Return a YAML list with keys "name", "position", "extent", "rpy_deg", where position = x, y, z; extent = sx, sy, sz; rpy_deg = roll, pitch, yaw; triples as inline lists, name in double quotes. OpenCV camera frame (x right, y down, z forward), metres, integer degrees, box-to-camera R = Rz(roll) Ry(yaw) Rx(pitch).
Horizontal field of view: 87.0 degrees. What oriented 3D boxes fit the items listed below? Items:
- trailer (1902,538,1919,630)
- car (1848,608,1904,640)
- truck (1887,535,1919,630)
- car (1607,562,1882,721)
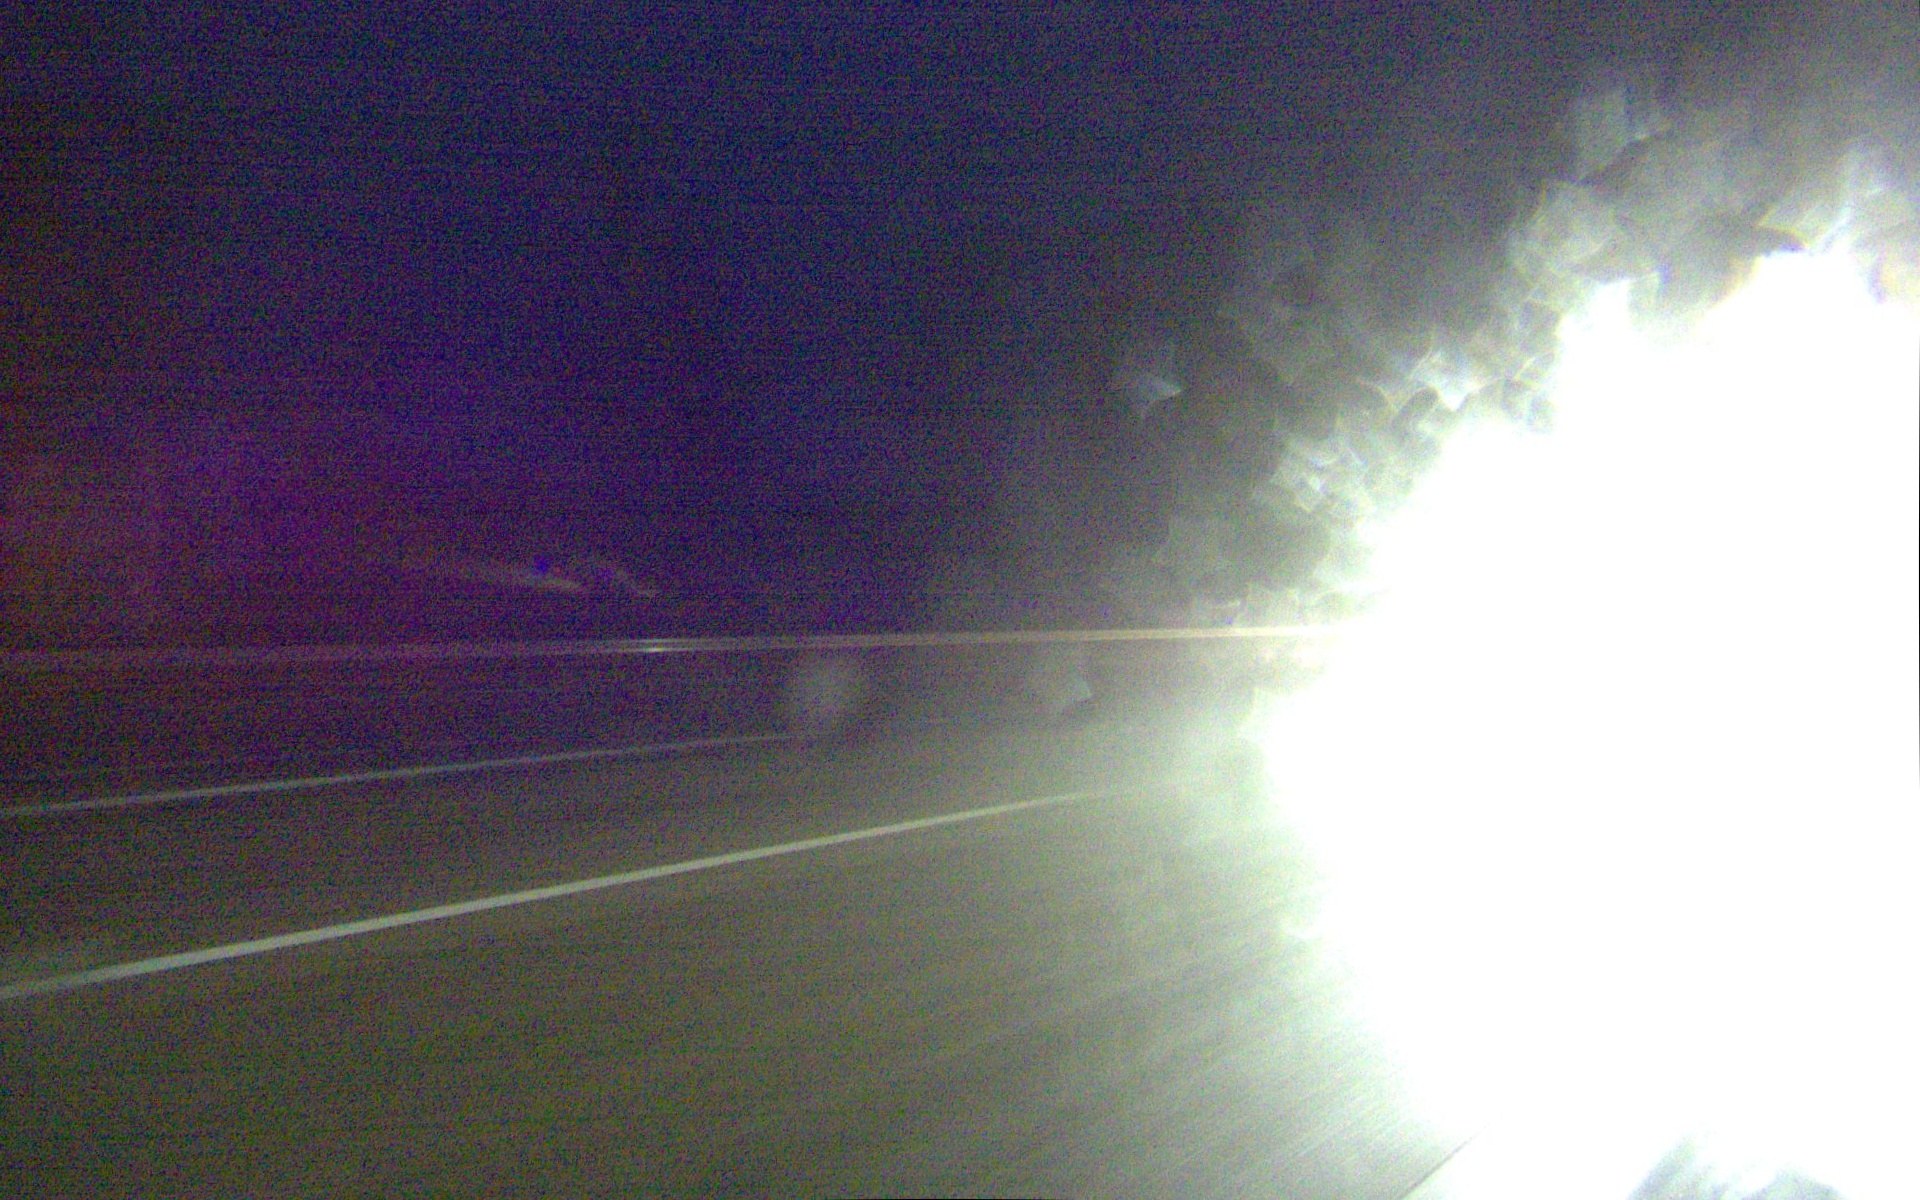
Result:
- name: "trailer"
  position: [48.201, -0.716, 48.066]
  extent: [13.564, 4.030, 2.746]
  rpy_deg: [0, -2, -38]
- name: "car"
  position: [59.537, 1.561, 65.735]
  extent: [3.927, 2.040, 1.998]
  rpy_deg: [0, -2, -38]
- name: "truck"
  position: [42.728, -0.749, 43.842]
  extent: [5.102, 4.021, 2.782]
  rpy_deg: [0, -3, -37]
- name: "car"
  position: [9.614, 0.473, 12.334]
  extent: [3.612, 1.645, 1.847]
  rpy_deg: [1, -2, -39]
